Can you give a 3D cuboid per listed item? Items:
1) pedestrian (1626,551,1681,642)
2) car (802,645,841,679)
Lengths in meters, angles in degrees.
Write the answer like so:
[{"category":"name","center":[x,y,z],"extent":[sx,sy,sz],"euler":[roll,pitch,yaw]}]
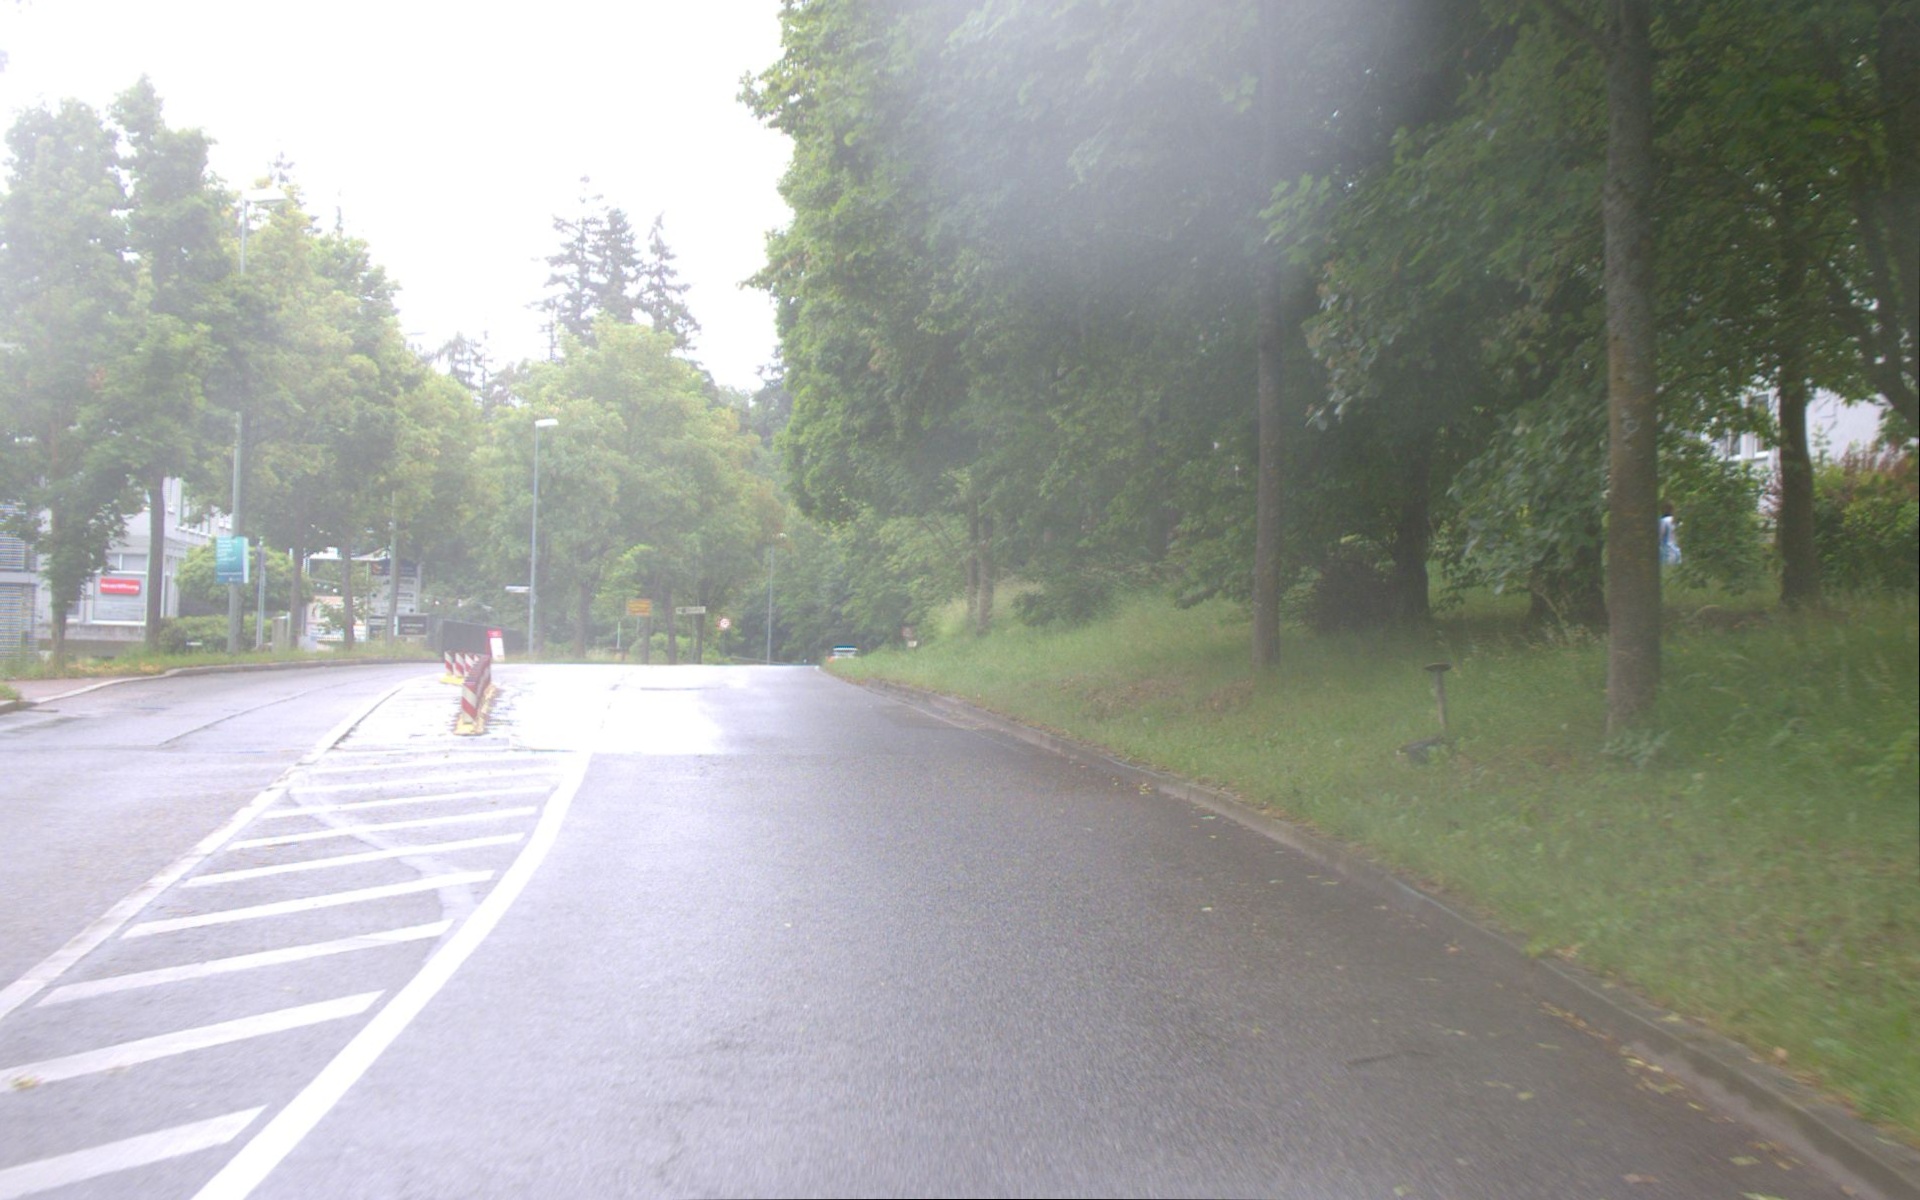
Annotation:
[{"category":"pedestrian","center":[9.865,-0.046,48.924],"extent":[0.654,1.280,0.625],"euler":[0,0,-1]},{"category":"car","center":[-6.377,2.866,158.863],"extent":[1.736,1.505,4.000],"euler":[0,-2,-2]}]
